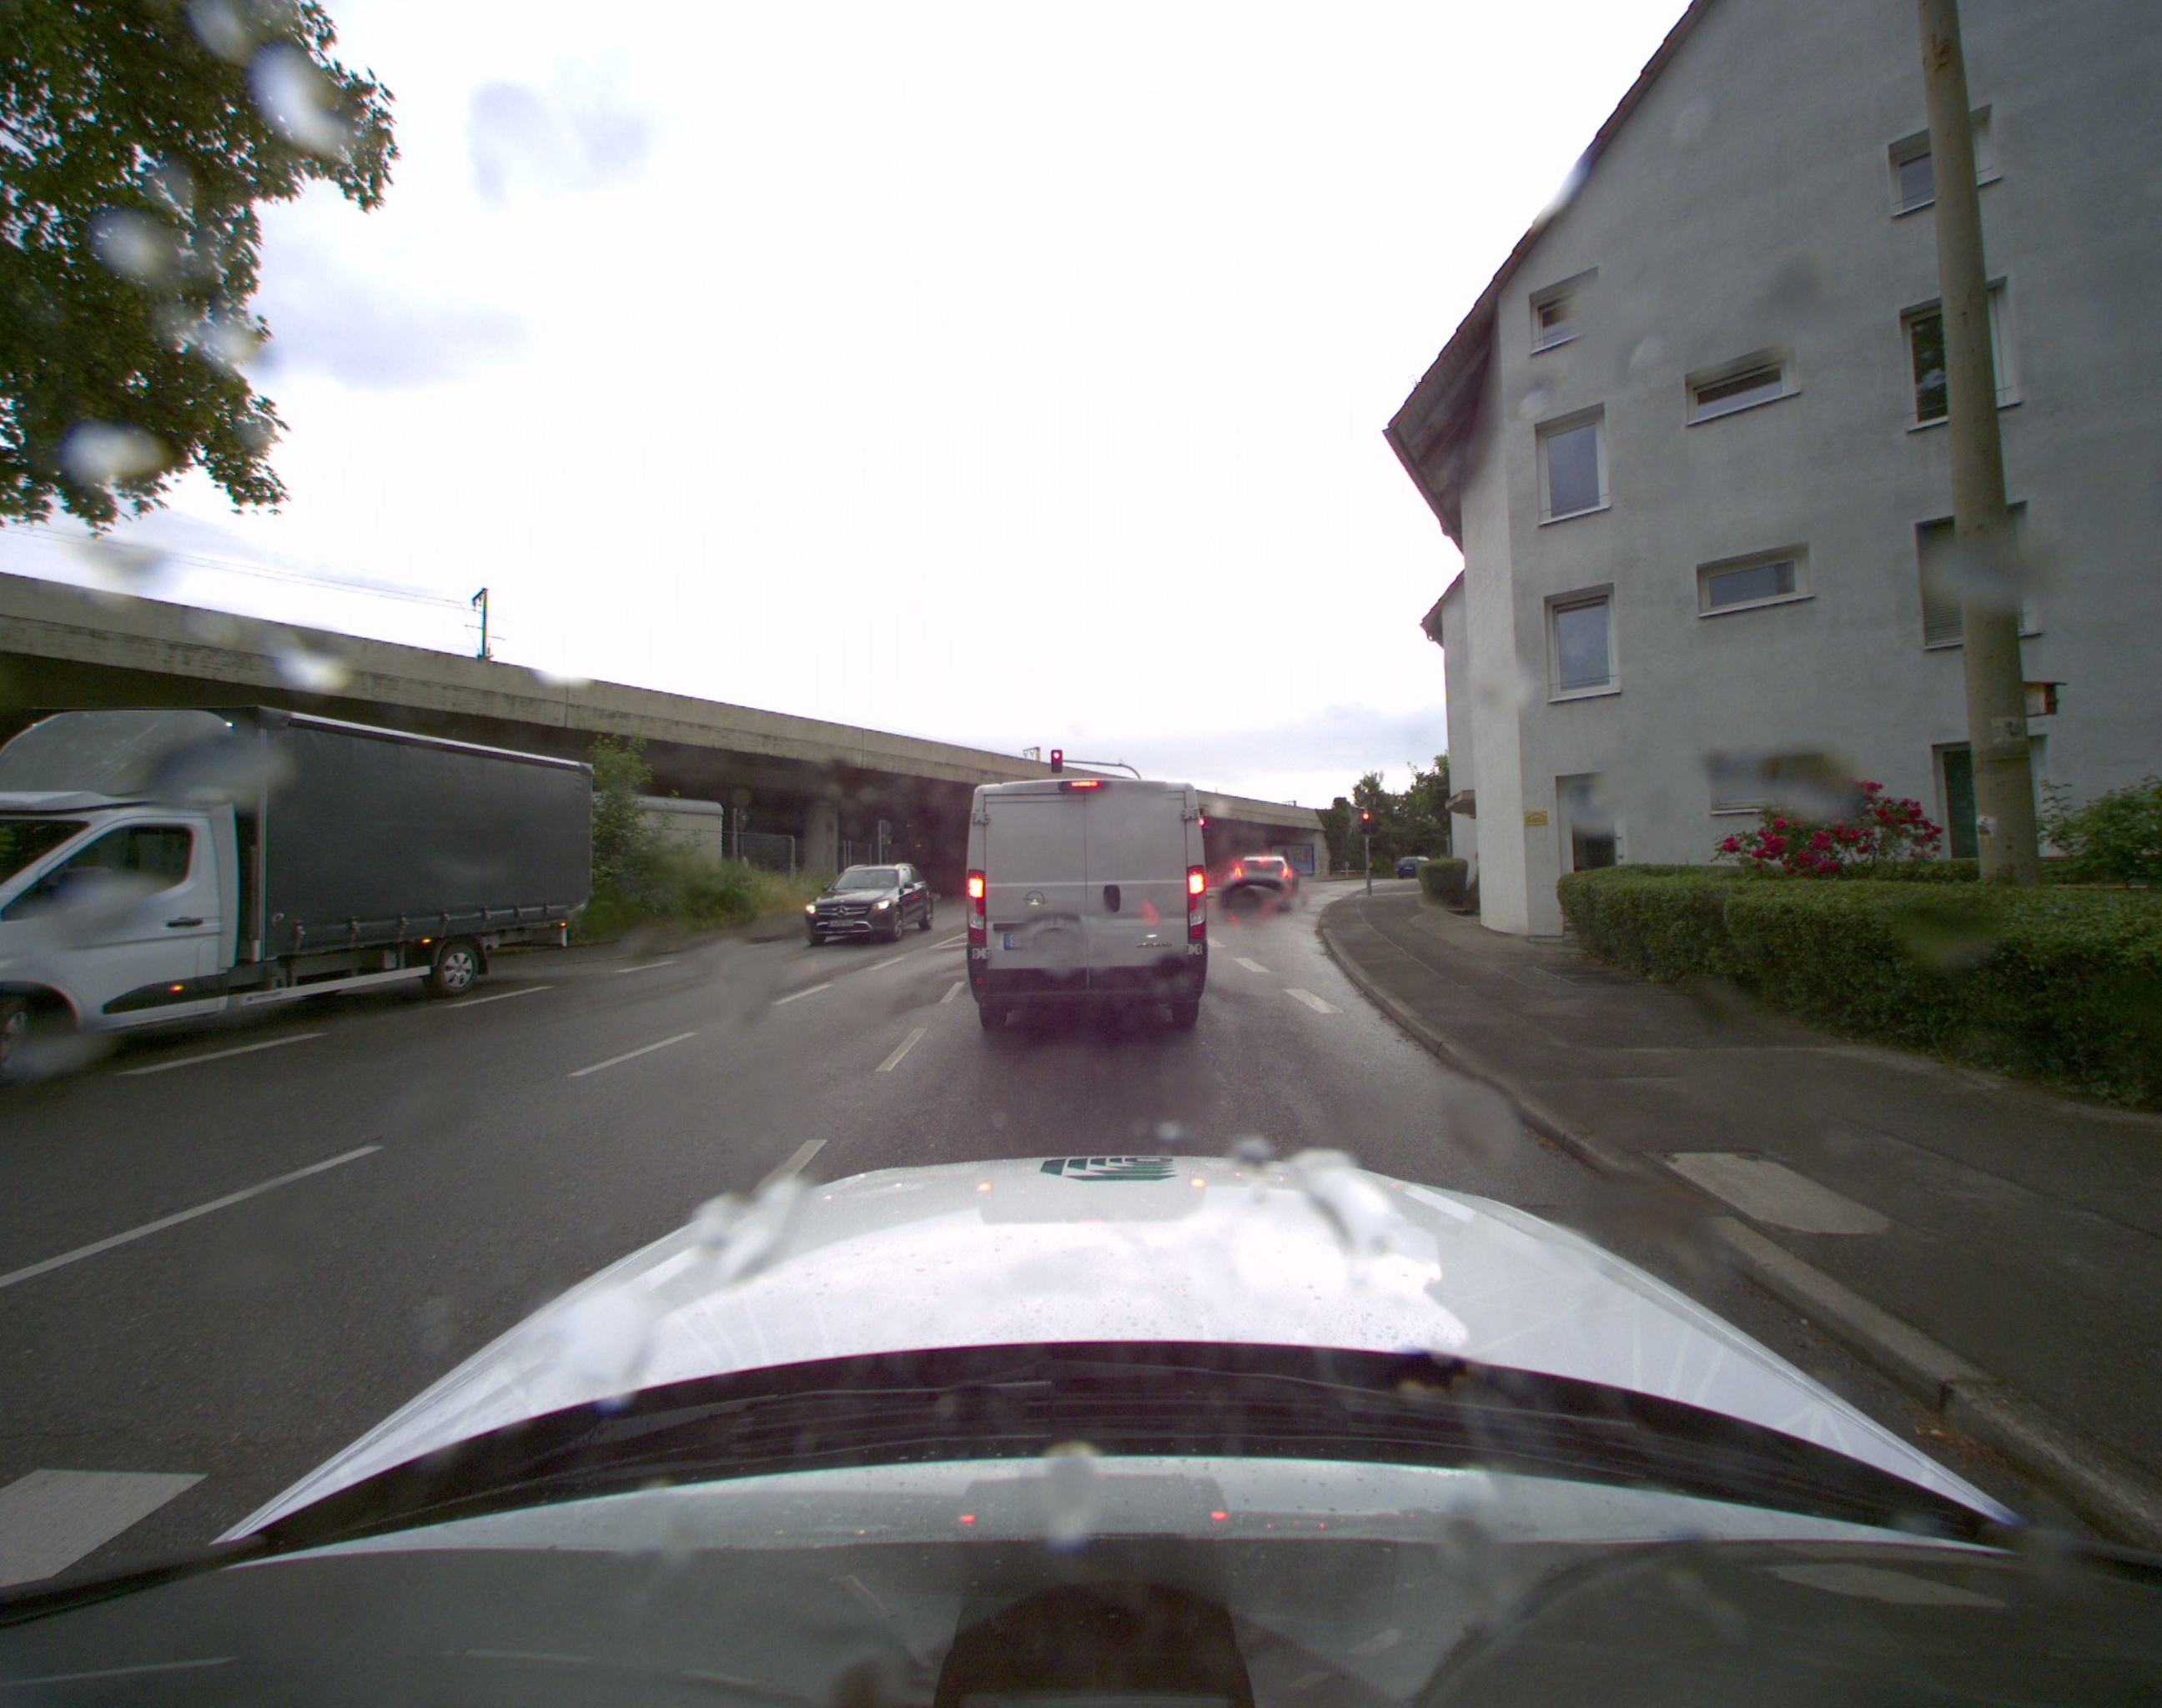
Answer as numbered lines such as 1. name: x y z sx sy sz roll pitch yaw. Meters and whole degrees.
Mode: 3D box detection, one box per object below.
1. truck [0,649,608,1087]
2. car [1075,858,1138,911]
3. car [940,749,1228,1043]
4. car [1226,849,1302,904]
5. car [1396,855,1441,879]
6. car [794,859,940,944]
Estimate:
1. truck: -9.089 0.179 9.158 2.599 3.237 7.782 -1 -1 3
2. car: 0.974 1.070 28.882 1.984 1.729 4.004 -1 -2 5
3. car: 0.107 0.375 9.241 2.296 2.343 5.284 -1 -1 2
4. car: 5.742 0.694 25.216 1.978 1.549 4.017 -2 -2 17
5. car: 22.142 0.863 53.380 1.974 1.519 4.025 -2 -2 33
6. car: -4.595 0.958 18.248 1.907 1.626 4.437 -1 -1 2
